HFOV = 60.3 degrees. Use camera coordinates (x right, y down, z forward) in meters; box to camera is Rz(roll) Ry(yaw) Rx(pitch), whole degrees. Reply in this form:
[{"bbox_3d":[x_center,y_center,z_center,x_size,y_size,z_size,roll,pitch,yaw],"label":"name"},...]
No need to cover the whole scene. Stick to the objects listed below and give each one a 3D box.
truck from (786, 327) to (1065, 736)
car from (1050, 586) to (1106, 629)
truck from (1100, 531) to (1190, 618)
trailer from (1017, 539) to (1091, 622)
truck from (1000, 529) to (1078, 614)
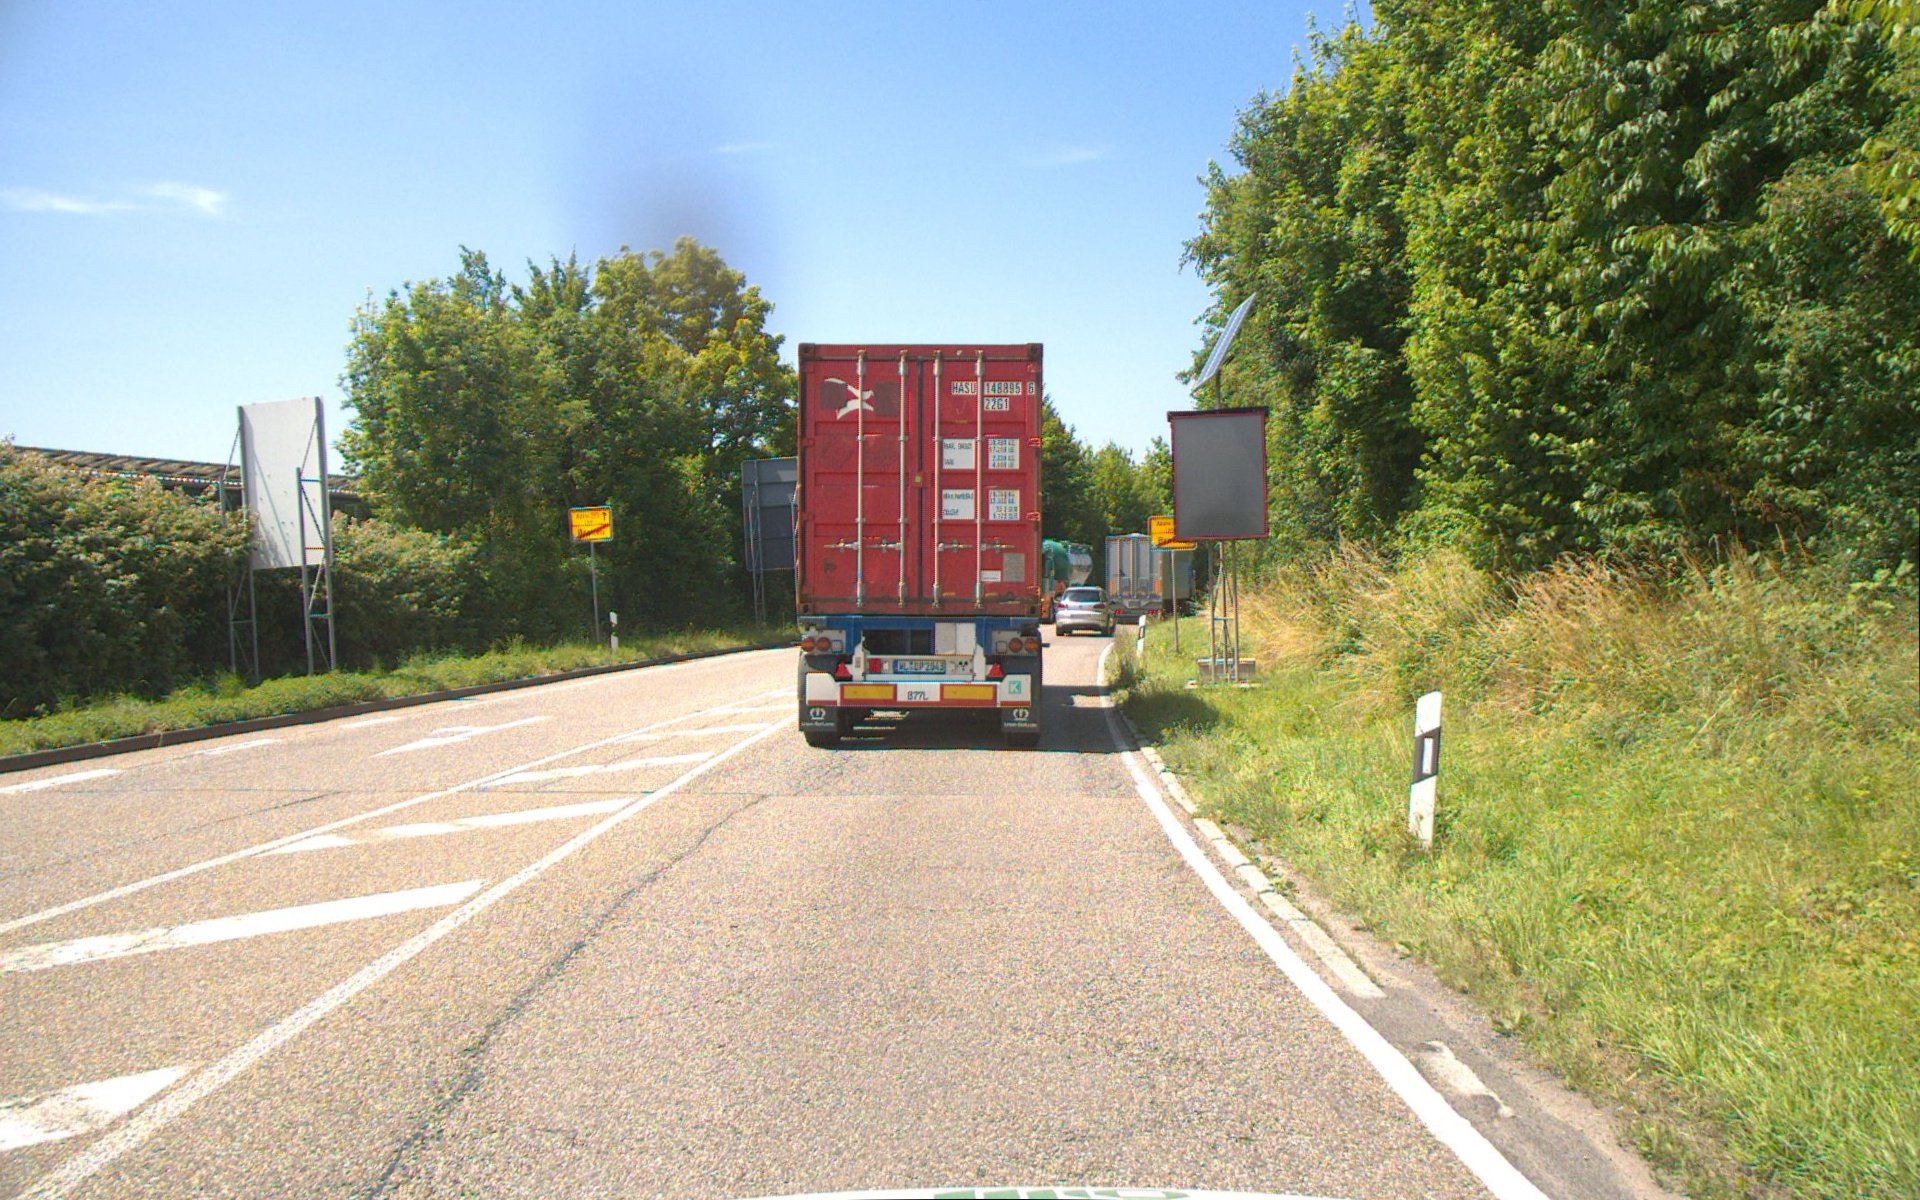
[{"bbox_3d":[-0.037,-0.647,22.533,2.592,3.873,13.363,1,0,3],"label":"truck"},{"bbox_3d":[4.108,0.238,57.294,1.793,1.458,4.003,0,0,6],"label":"car"},{"bbox_3d":[9.004,-1.123,79.032,2.859,3.782,13.371,0,0,12],"label":"truck"},{"bbox_3d":[4.810,-0.934,82.997,2.522,3.886,8.922,1,0,10],"label":"trailer"},{"bbox_3d":[3.770,-1.255,77.302,2.524,3.744,7.882,1,0,10],"label":"truck"}]
